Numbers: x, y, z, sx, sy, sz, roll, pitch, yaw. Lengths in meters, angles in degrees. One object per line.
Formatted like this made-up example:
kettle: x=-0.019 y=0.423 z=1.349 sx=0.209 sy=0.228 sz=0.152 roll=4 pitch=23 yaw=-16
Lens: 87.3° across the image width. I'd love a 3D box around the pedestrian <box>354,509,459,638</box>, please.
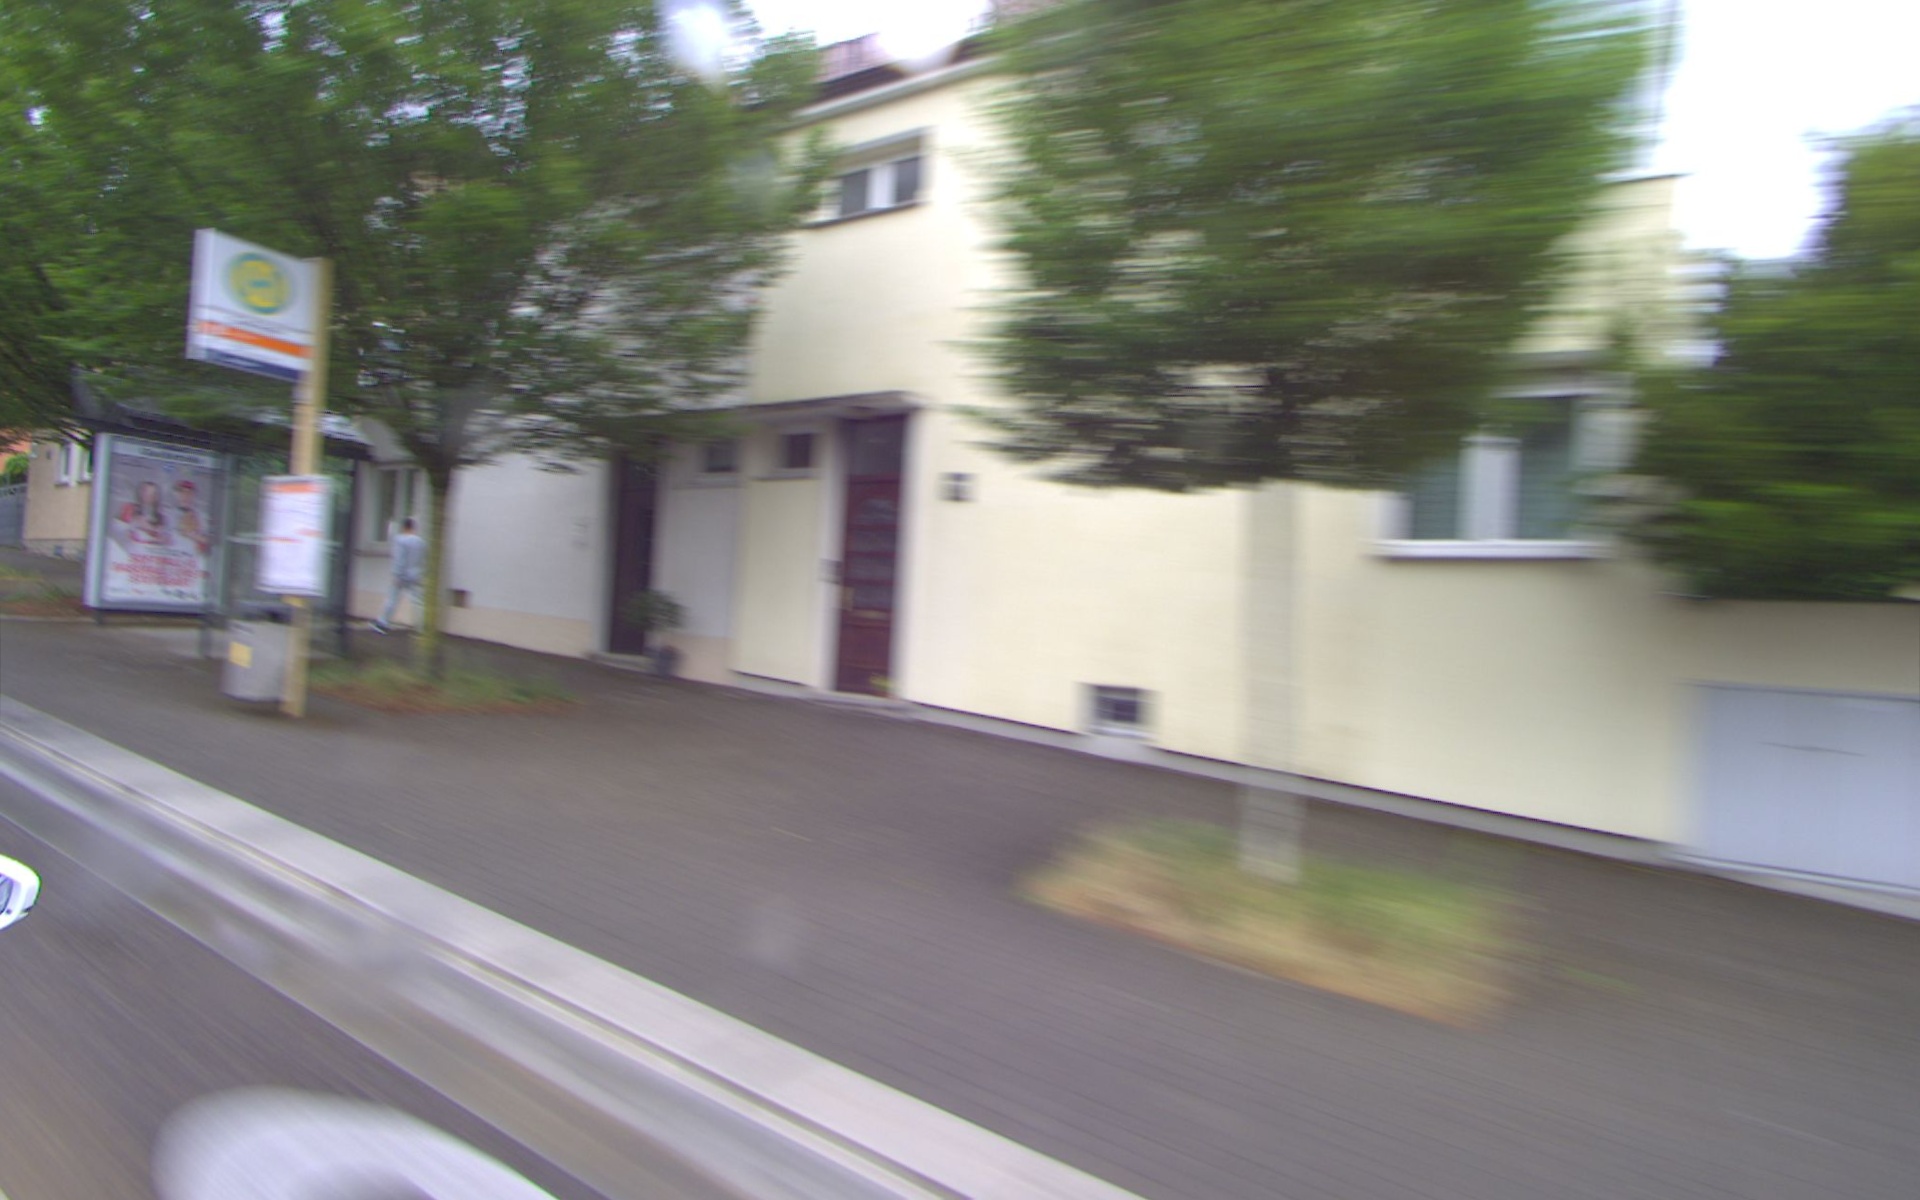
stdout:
pedestrian: x=-7.876 y=-0.372 z=14.315 sx=1.028 sy=1.709 sz=0.832 roll=7 pitch=3 yaw=33
